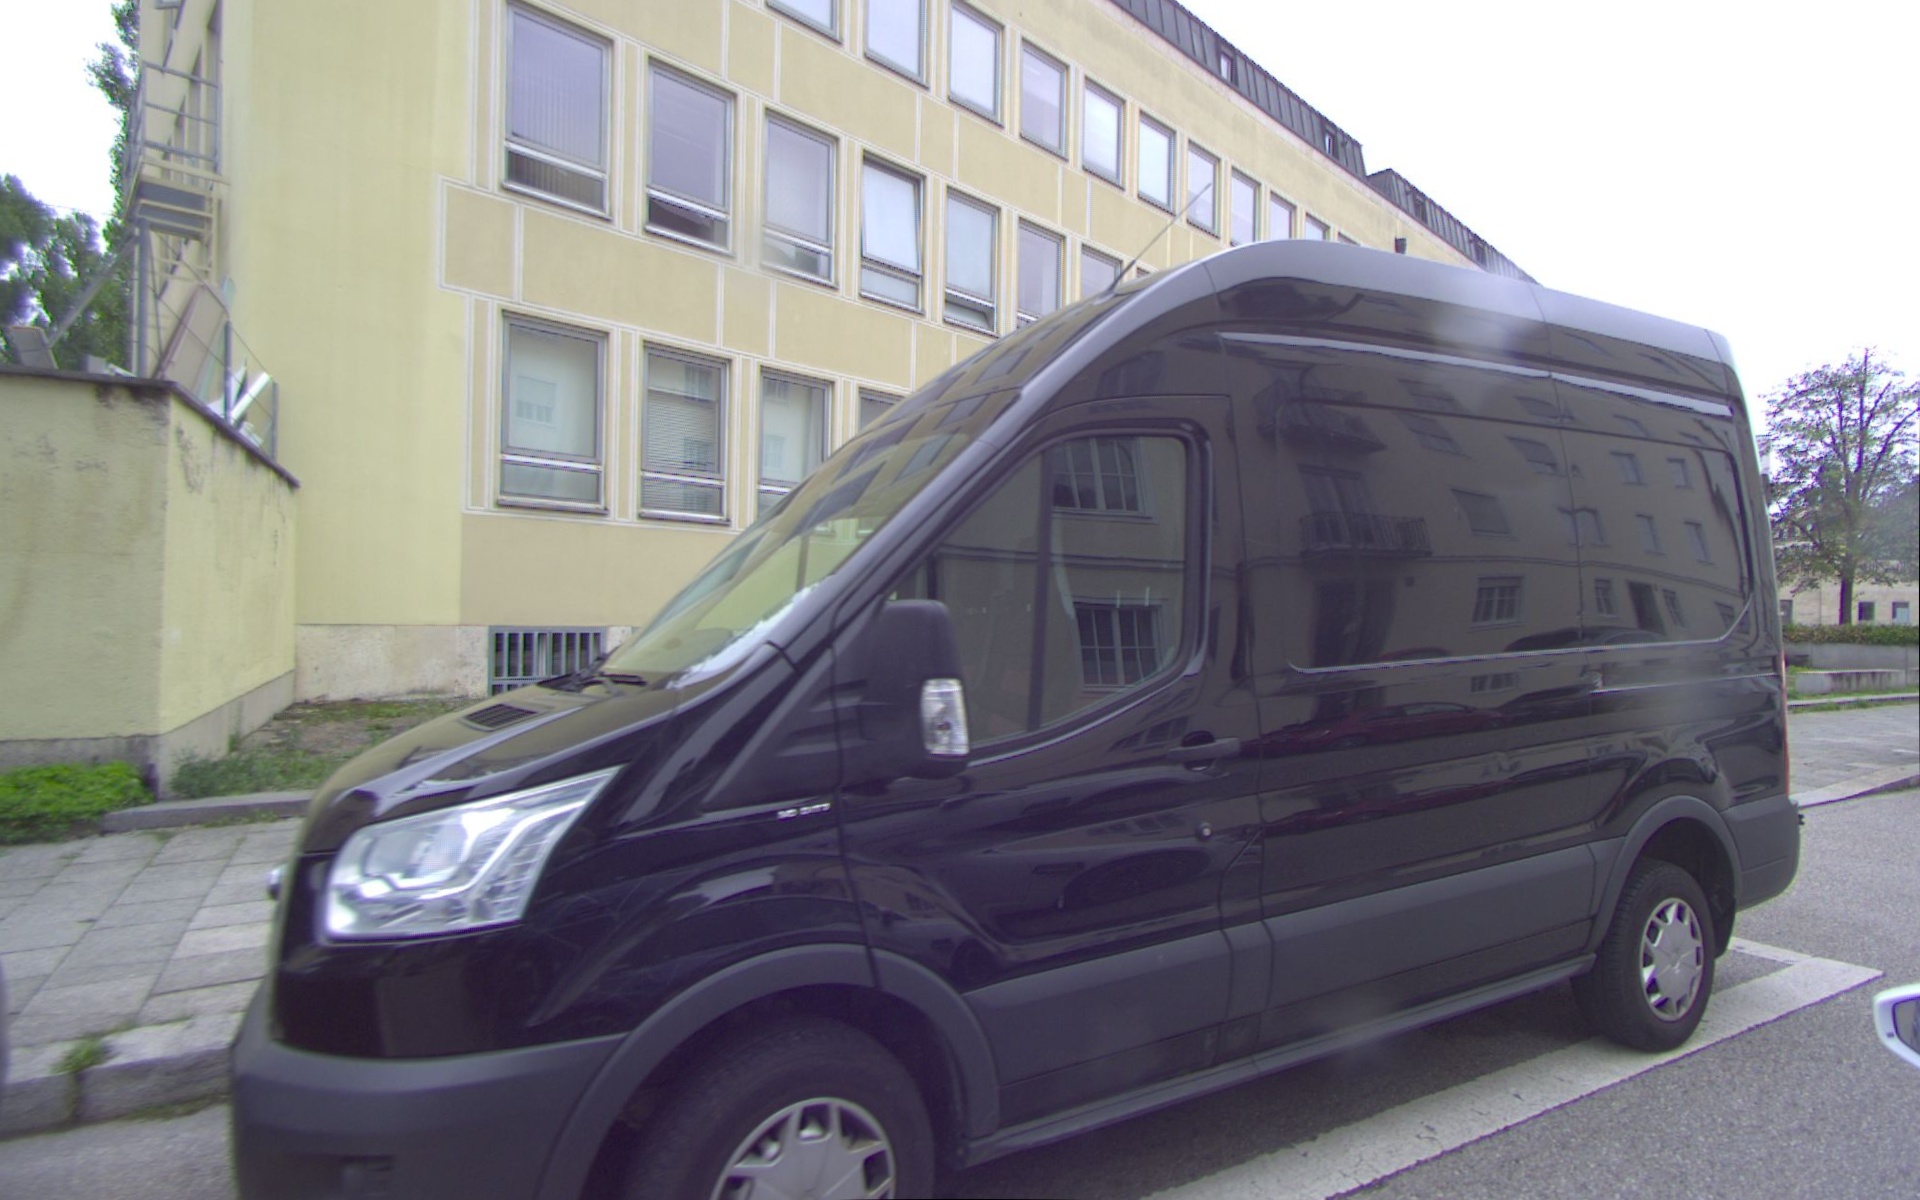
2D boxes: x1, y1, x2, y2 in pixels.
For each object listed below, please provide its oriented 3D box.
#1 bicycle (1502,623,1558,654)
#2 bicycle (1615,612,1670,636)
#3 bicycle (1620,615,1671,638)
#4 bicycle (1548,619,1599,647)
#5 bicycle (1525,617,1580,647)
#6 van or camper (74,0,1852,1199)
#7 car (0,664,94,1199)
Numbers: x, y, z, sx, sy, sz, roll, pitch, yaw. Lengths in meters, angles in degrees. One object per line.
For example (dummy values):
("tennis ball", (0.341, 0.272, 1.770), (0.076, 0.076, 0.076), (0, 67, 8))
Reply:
("bicycle", (19.535, 1.315, 34.451), (1.586, 0.957, 0.500), (3, 2, 42))
("bicycle", (30.439, 1.070, 44.818), (0.411, 0.957, 1.933), (0, 2, -42))
("bicycle", (30.944, 1.193, 45.371), (1.837, 0.957, 0.412), (3, 2, 42))
("bicycle", (22.941, 1.218, 37.569), (1.583, 0.957, 0.501), (3, 2, 37))
("bicycle", (21.202, 1.147, 35.966), (1.586, 0.957, 0.500), (3, 2, 42))
("van or camper", (0.636, 0.387, 3.744), (5.492, 2.686, 2.284), (0, -1, -29))
("car", (-3.578, 0.912, 1.025), (3.867, 1.517, 1.643), (0, -1, -33))
